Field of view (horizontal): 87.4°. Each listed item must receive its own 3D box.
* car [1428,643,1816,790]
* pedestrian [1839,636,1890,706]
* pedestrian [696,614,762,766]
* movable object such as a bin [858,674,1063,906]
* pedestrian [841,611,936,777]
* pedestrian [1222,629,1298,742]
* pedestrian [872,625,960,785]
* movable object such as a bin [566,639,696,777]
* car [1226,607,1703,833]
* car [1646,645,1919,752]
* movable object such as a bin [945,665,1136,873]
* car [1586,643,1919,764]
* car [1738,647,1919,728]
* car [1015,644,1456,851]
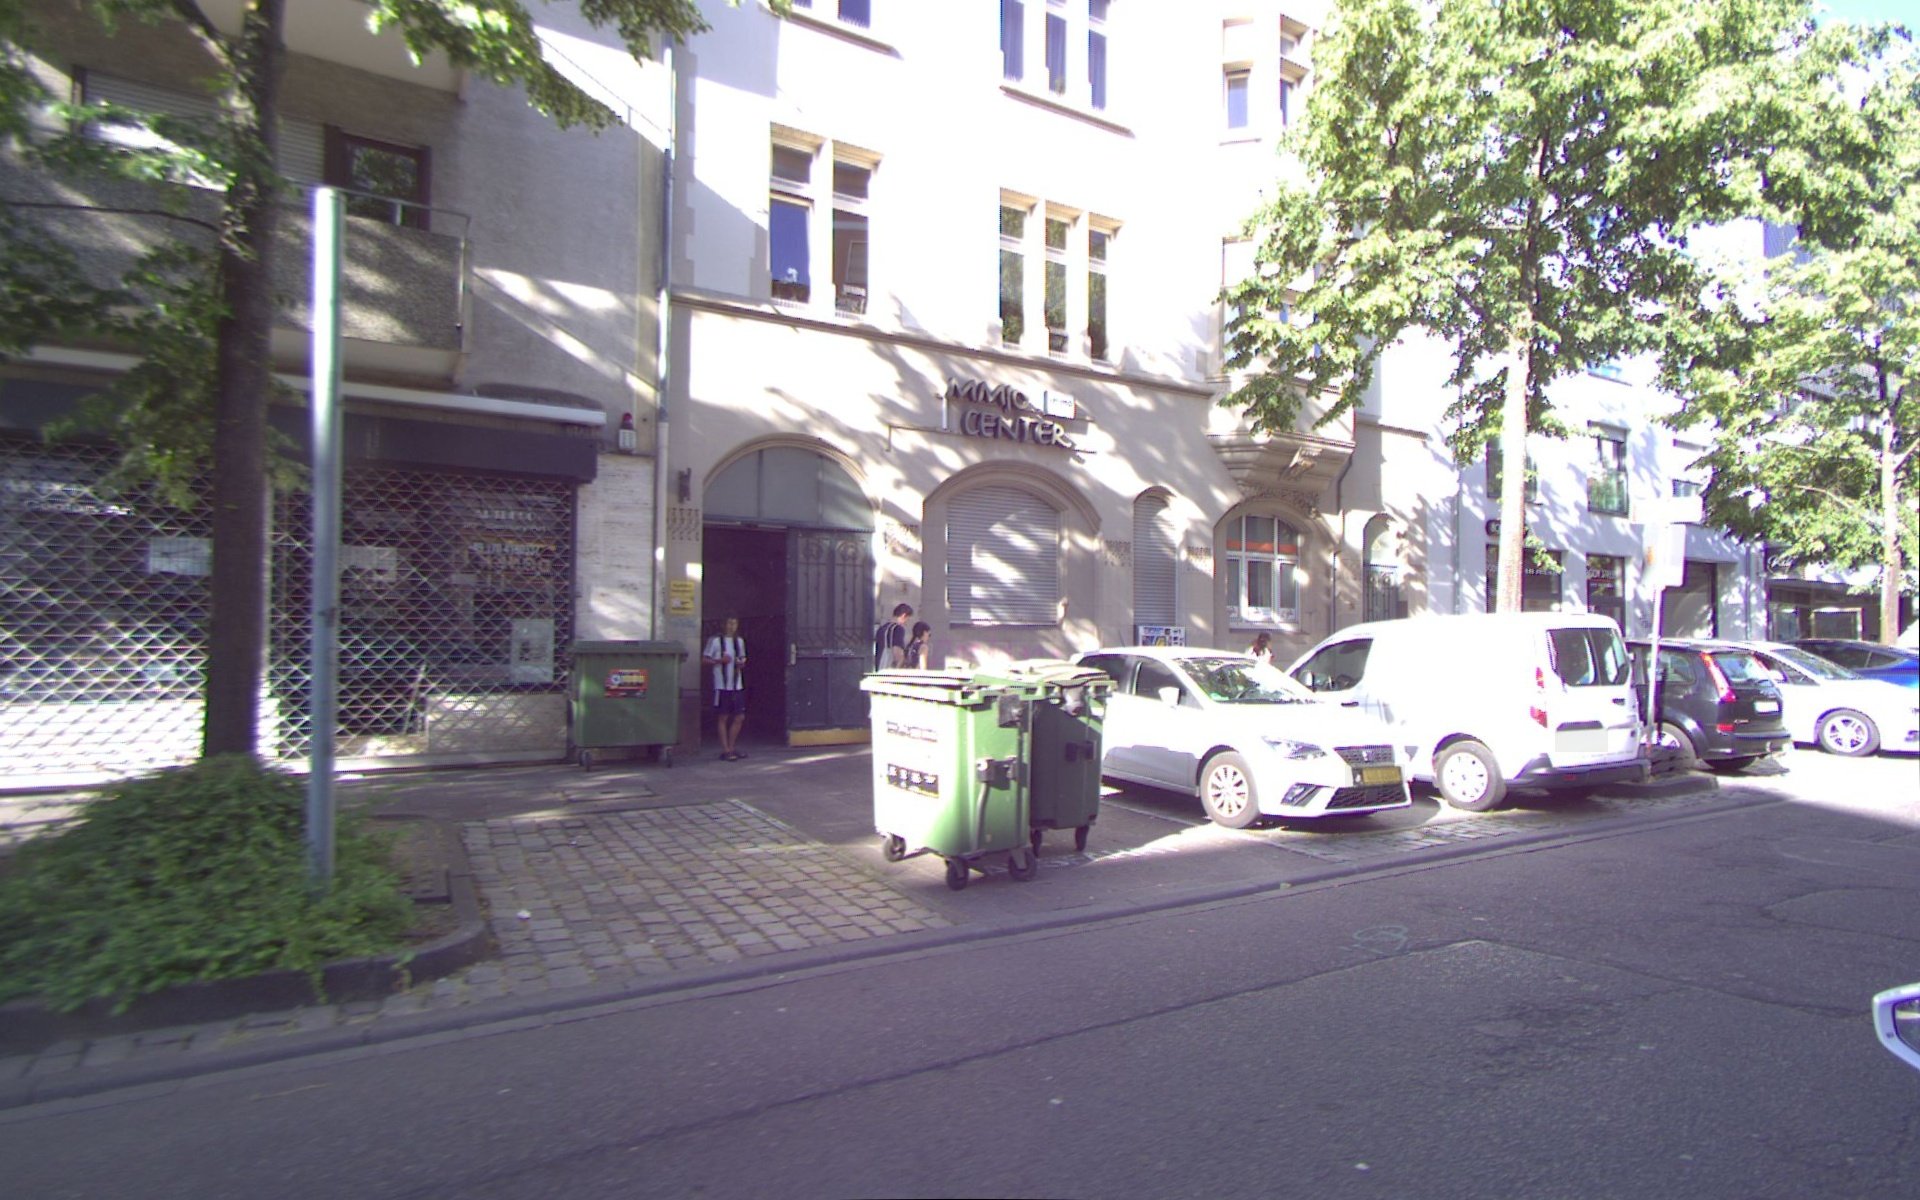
[{"bbox_3d":[8.277,1.344,12.921,1.770,1.578,3.783,1,-3,-29],"label":"car"},{"bbox_3d":[24.226,1.886,26.912,0.733,1.821,0.699,1,-2,-19],"label":"pedestrian"},{"bbox_3d":[-2.664,1.017,11.583,0.631,1.694,0.432,1,-2,-28],"label":"pedestrian"},{"bbox_3d":[-0.029,1.169,6.655,0.860,1.319,1.231,1,-3,-31],"label":"movable object such as a bin"},{"bbox_3d":[-0.828,1.044,11.542,0.755,1.790,0.770,2,1,-32],"label":"pedestrian"},{"bbox_3d":[4.203,1.179,14.101,0.832,1.514,0.590,1,0,-29],"label":"pedestrian"},{"bbox_3d":[-0.478,1.115,10.922,0.719,1.648,0.562,2,1,-32],"label":"pedestrian"},{"bbox_3d":[-3.601,1.141,10.985,1.211,1.416,0.819,2,-2,-28],"label":"movable object such as a bin"},{"bbox_3d":[5.000,1.063,10.578,2.014,1.860,4.088,1,-2,-29],"label":"car"},{"bbox_3d":[14.432,1.555,16.923,1.956,1.591,4.348,1,-3,-29],"label":"car"},{"bbox_3d":[0.582,1.188,7.532,0.921,1.363,1.187,2,-3,-31],"label":"movable object such as a bin"},{"bbox_3d":[12.452,1.462,15.507,1.923,1.591,4.348,1,-3,-29],"label":"car"},{"bbox_3d":[18.117,1.659,19.625,1.959,1.478,4.221,2,-3,-33],"label":"car"},{"bbox_3d":[2.361,1.186,9.637,1.864,1.483,3.962,1,-2,-29],"label":"car"}]
